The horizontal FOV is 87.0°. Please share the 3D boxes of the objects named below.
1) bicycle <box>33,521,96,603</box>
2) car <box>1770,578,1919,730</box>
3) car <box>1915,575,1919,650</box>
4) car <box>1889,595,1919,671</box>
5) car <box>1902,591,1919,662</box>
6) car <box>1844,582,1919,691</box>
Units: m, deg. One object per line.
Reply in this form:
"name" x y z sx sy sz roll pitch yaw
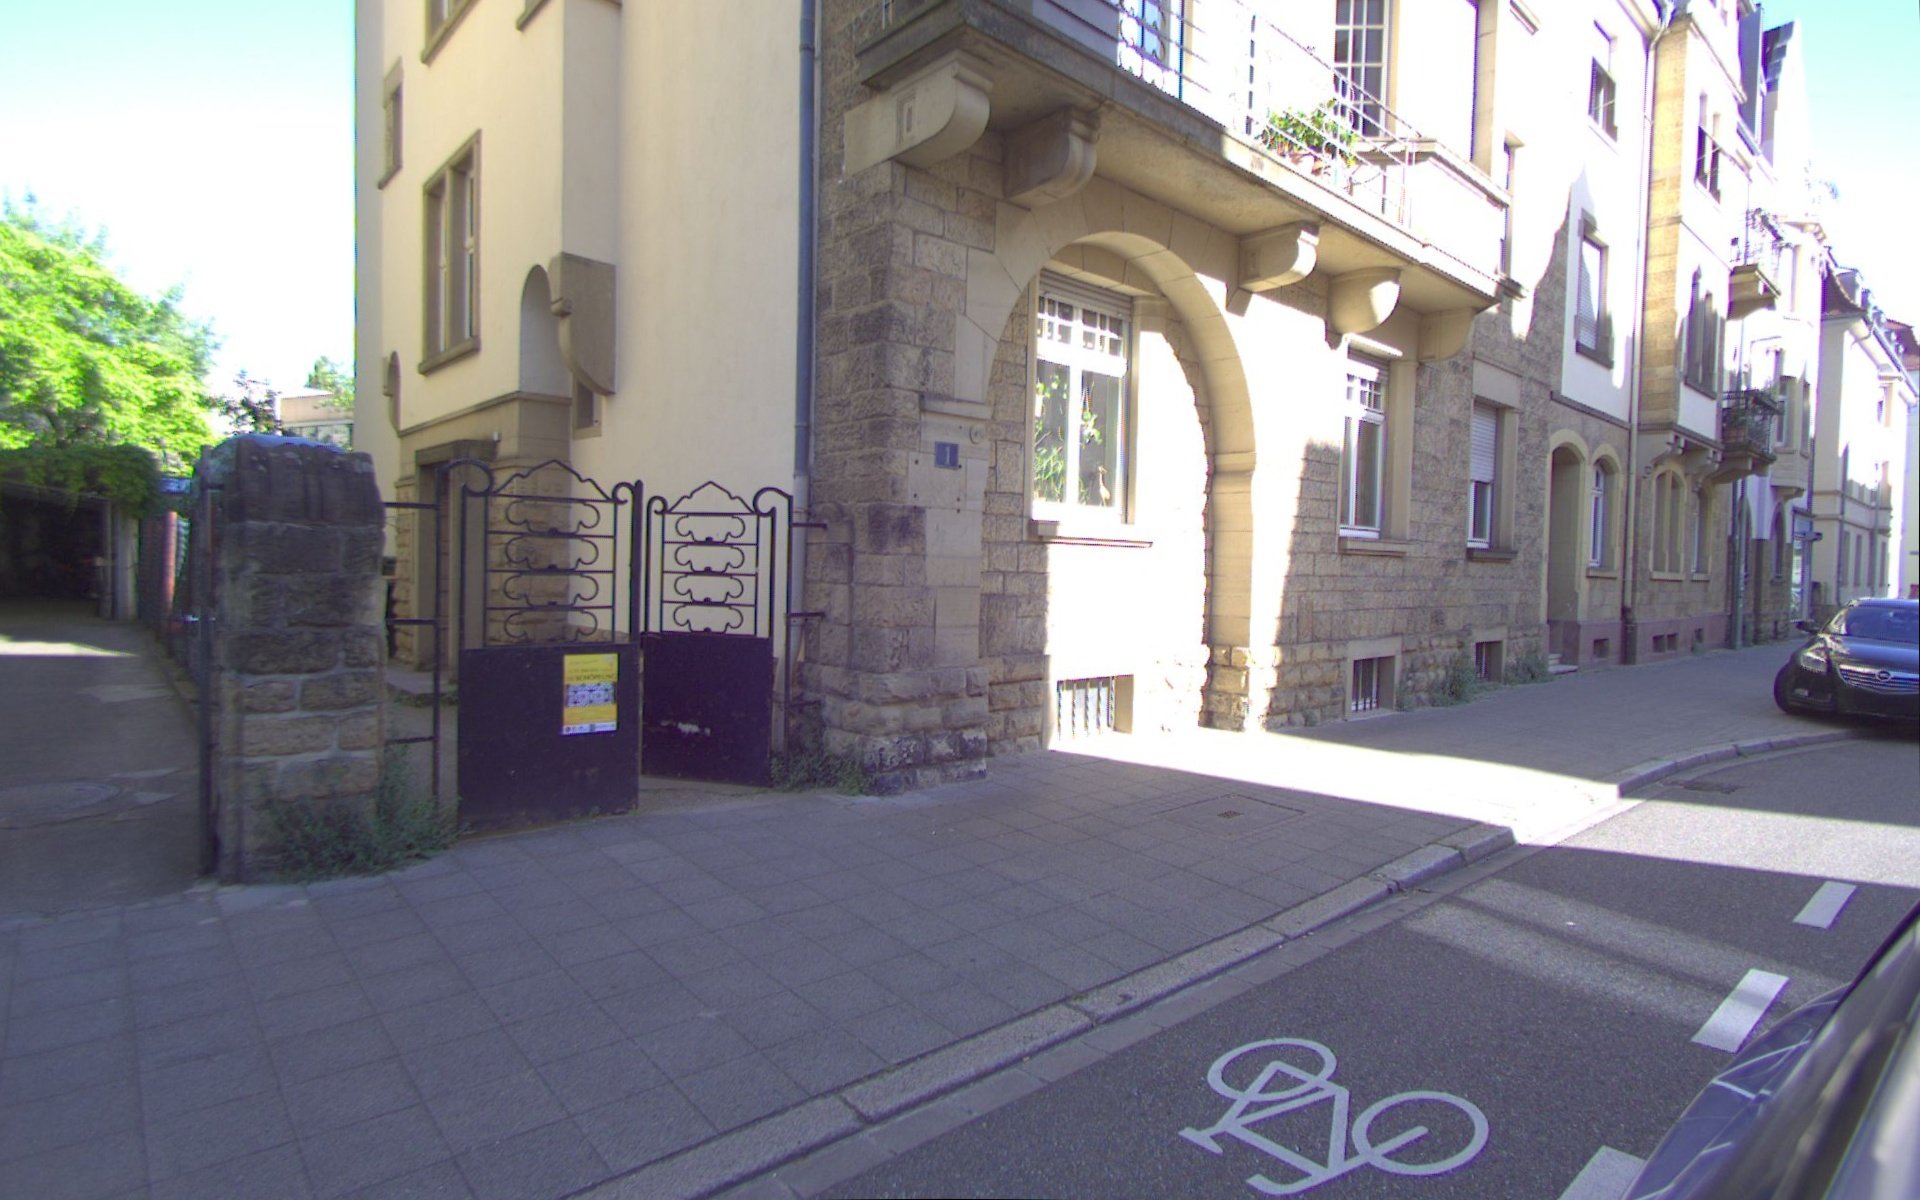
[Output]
"bicycle" -18.300 -0.810 20.725 0.903 1.530 2.672 0 4 -41
"car" 11.517 0.570 12.214 4.043 1.526 2.023 -1 5 -42
"car" 26.178 0.338 25.999 4.247 1.860 2.004 -1 4 -42
"car" 18.796 0.620 18.973 3.667 1.295 1.659 -1 4 -42
"car" 22.172 0.583 22.194 4.247 1.440 1.823 -1 4 -42
"car" 15.533 0.567 15.868 4.247 1.527 2.004 0 3 -42
